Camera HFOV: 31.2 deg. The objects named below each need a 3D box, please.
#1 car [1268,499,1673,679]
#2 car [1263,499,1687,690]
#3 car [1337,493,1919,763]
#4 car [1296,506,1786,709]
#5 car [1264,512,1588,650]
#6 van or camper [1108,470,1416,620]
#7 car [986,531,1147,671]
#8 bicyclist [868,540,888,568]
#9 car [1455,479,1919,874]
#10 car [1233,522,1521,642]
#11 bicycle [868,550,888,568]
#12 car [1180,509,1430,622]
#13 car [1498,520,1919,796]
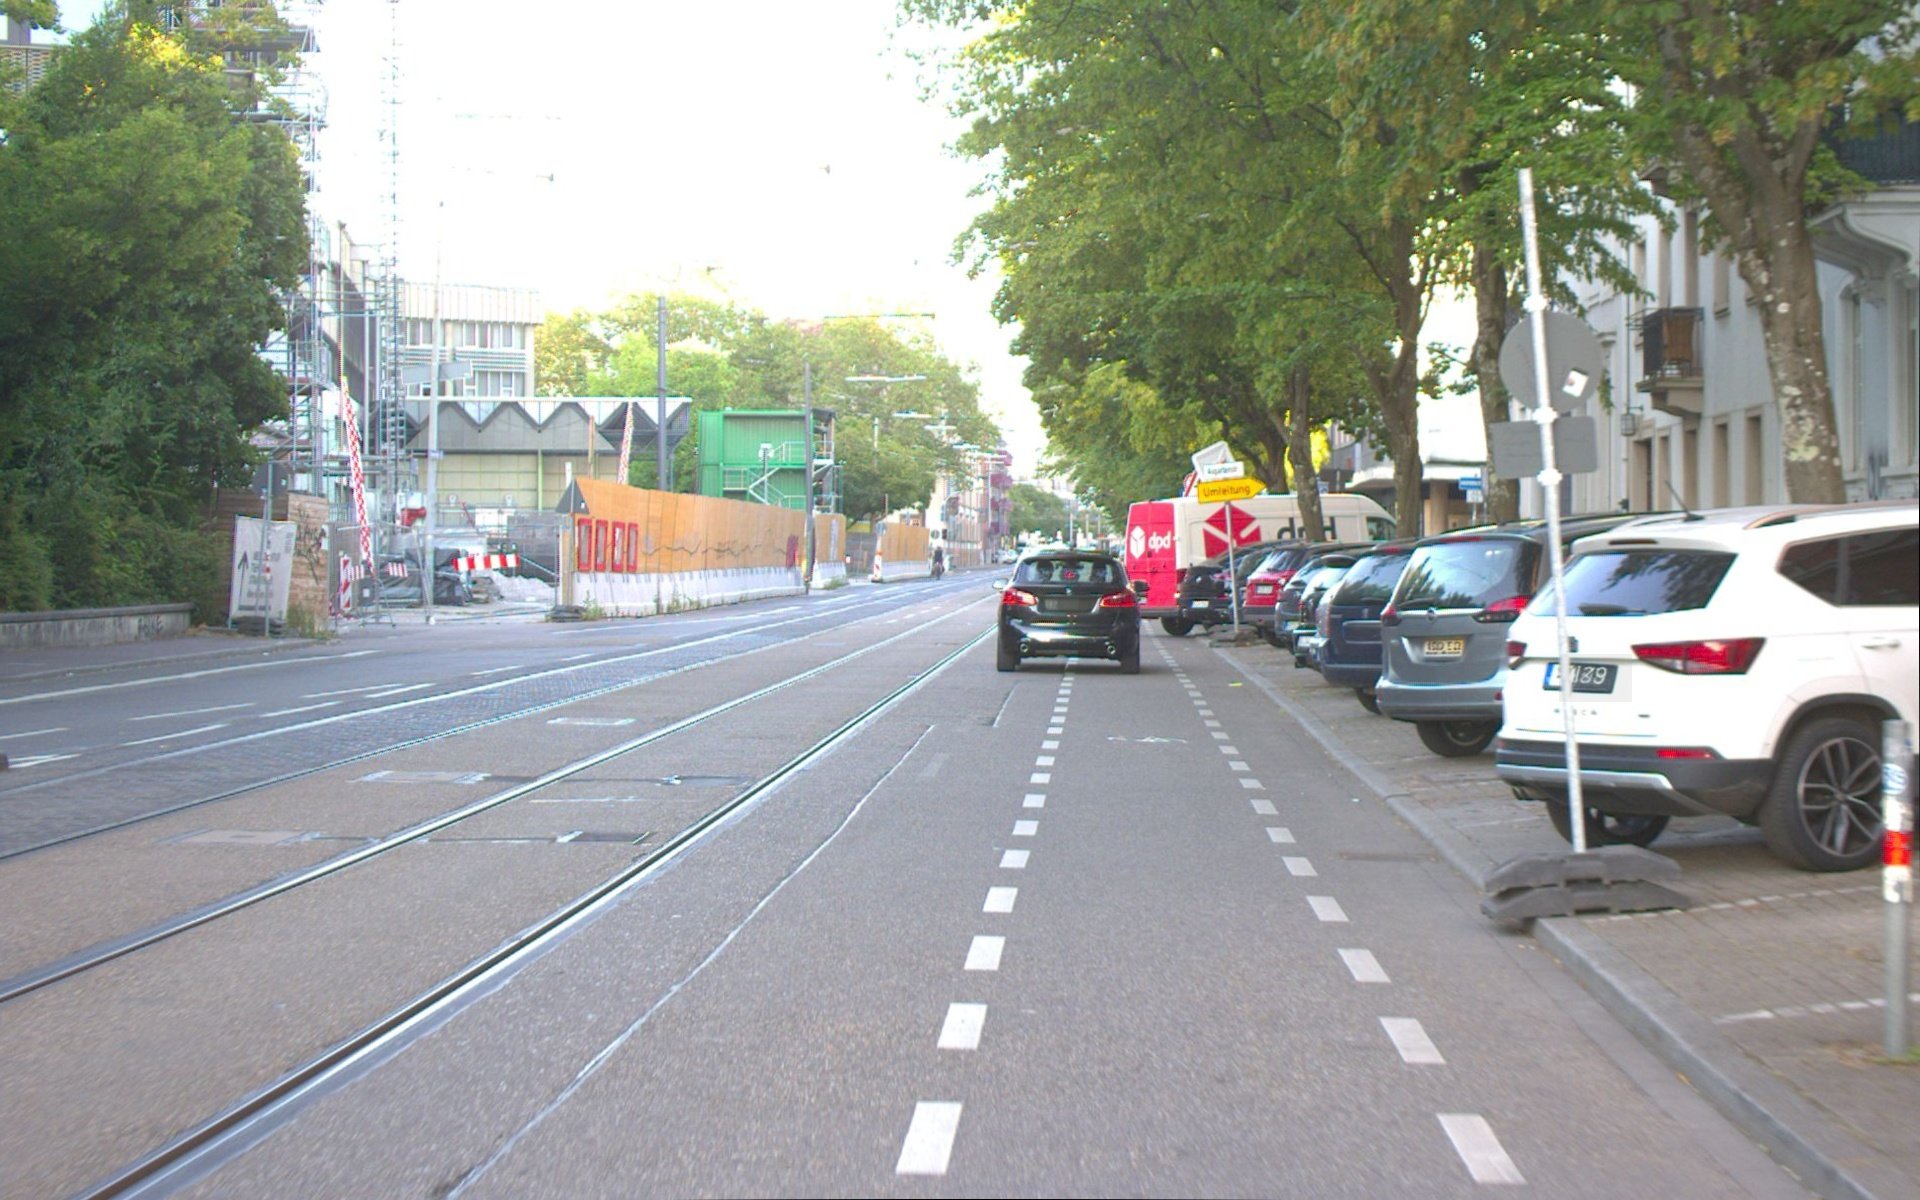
[{"bbox_3d":[5.547,-0.133,37.279,3.942,1.598,1.840,-5,2,-29],"label":"car"},{"bbox_3d":[5.259,-0.069,34.974,3.943,1.598,1.840,-5,2,-33],"label":"car"},{"bbox_3d":[4.806,0.162,24.477,3.943,1.663,1.901,-3,1,-38],"label":"car"},{"bbox_3d":[5.160,0.047,30.473,3.942,1.598,1.840,-2,1,-29],"label":"car"},{"bbox_3d":[6.298,-0.260,46.391,3.942,1.598,1.840,-4,1,-29],"label":"car"},{"bbox_3d":[5.735,-1.045,64.927,5.532,2.522,2.086,-4,1,-32],"label":"van or camper"},{"bbox_3d":[1.366,-0.030,43.827,1.882,1.614,4.000,3,1,2],"label":"car"},{"bbox_3d":[-3.979,-2.225,167.025,0.944,1.341,1.111,0,0,0],"label":"bicyclist"},{"bbox_3d":[4.488,0.254,16.379,3.942,1.621,1.674,-3,2,-28],"label":"car"},{"bbox_3d":[6.407,-0.280,52.843,3.941,1.598,1.841,-4,1,-24],"label":"car"},{"bbox_3d":[-3.990,-1.989,167.800,0.948,0.846,2.697,0,1,0],"label":"bicycle"},{"bbox_3d":[6.143,-0.614,61.200,3.941,1.759,1.841,-4,1,-24],"label":"car"},{"bbox_3d":[5.533,0.291,21.726,3.942,1.472,1.830,-3,2,-32],"label":"car"}]
